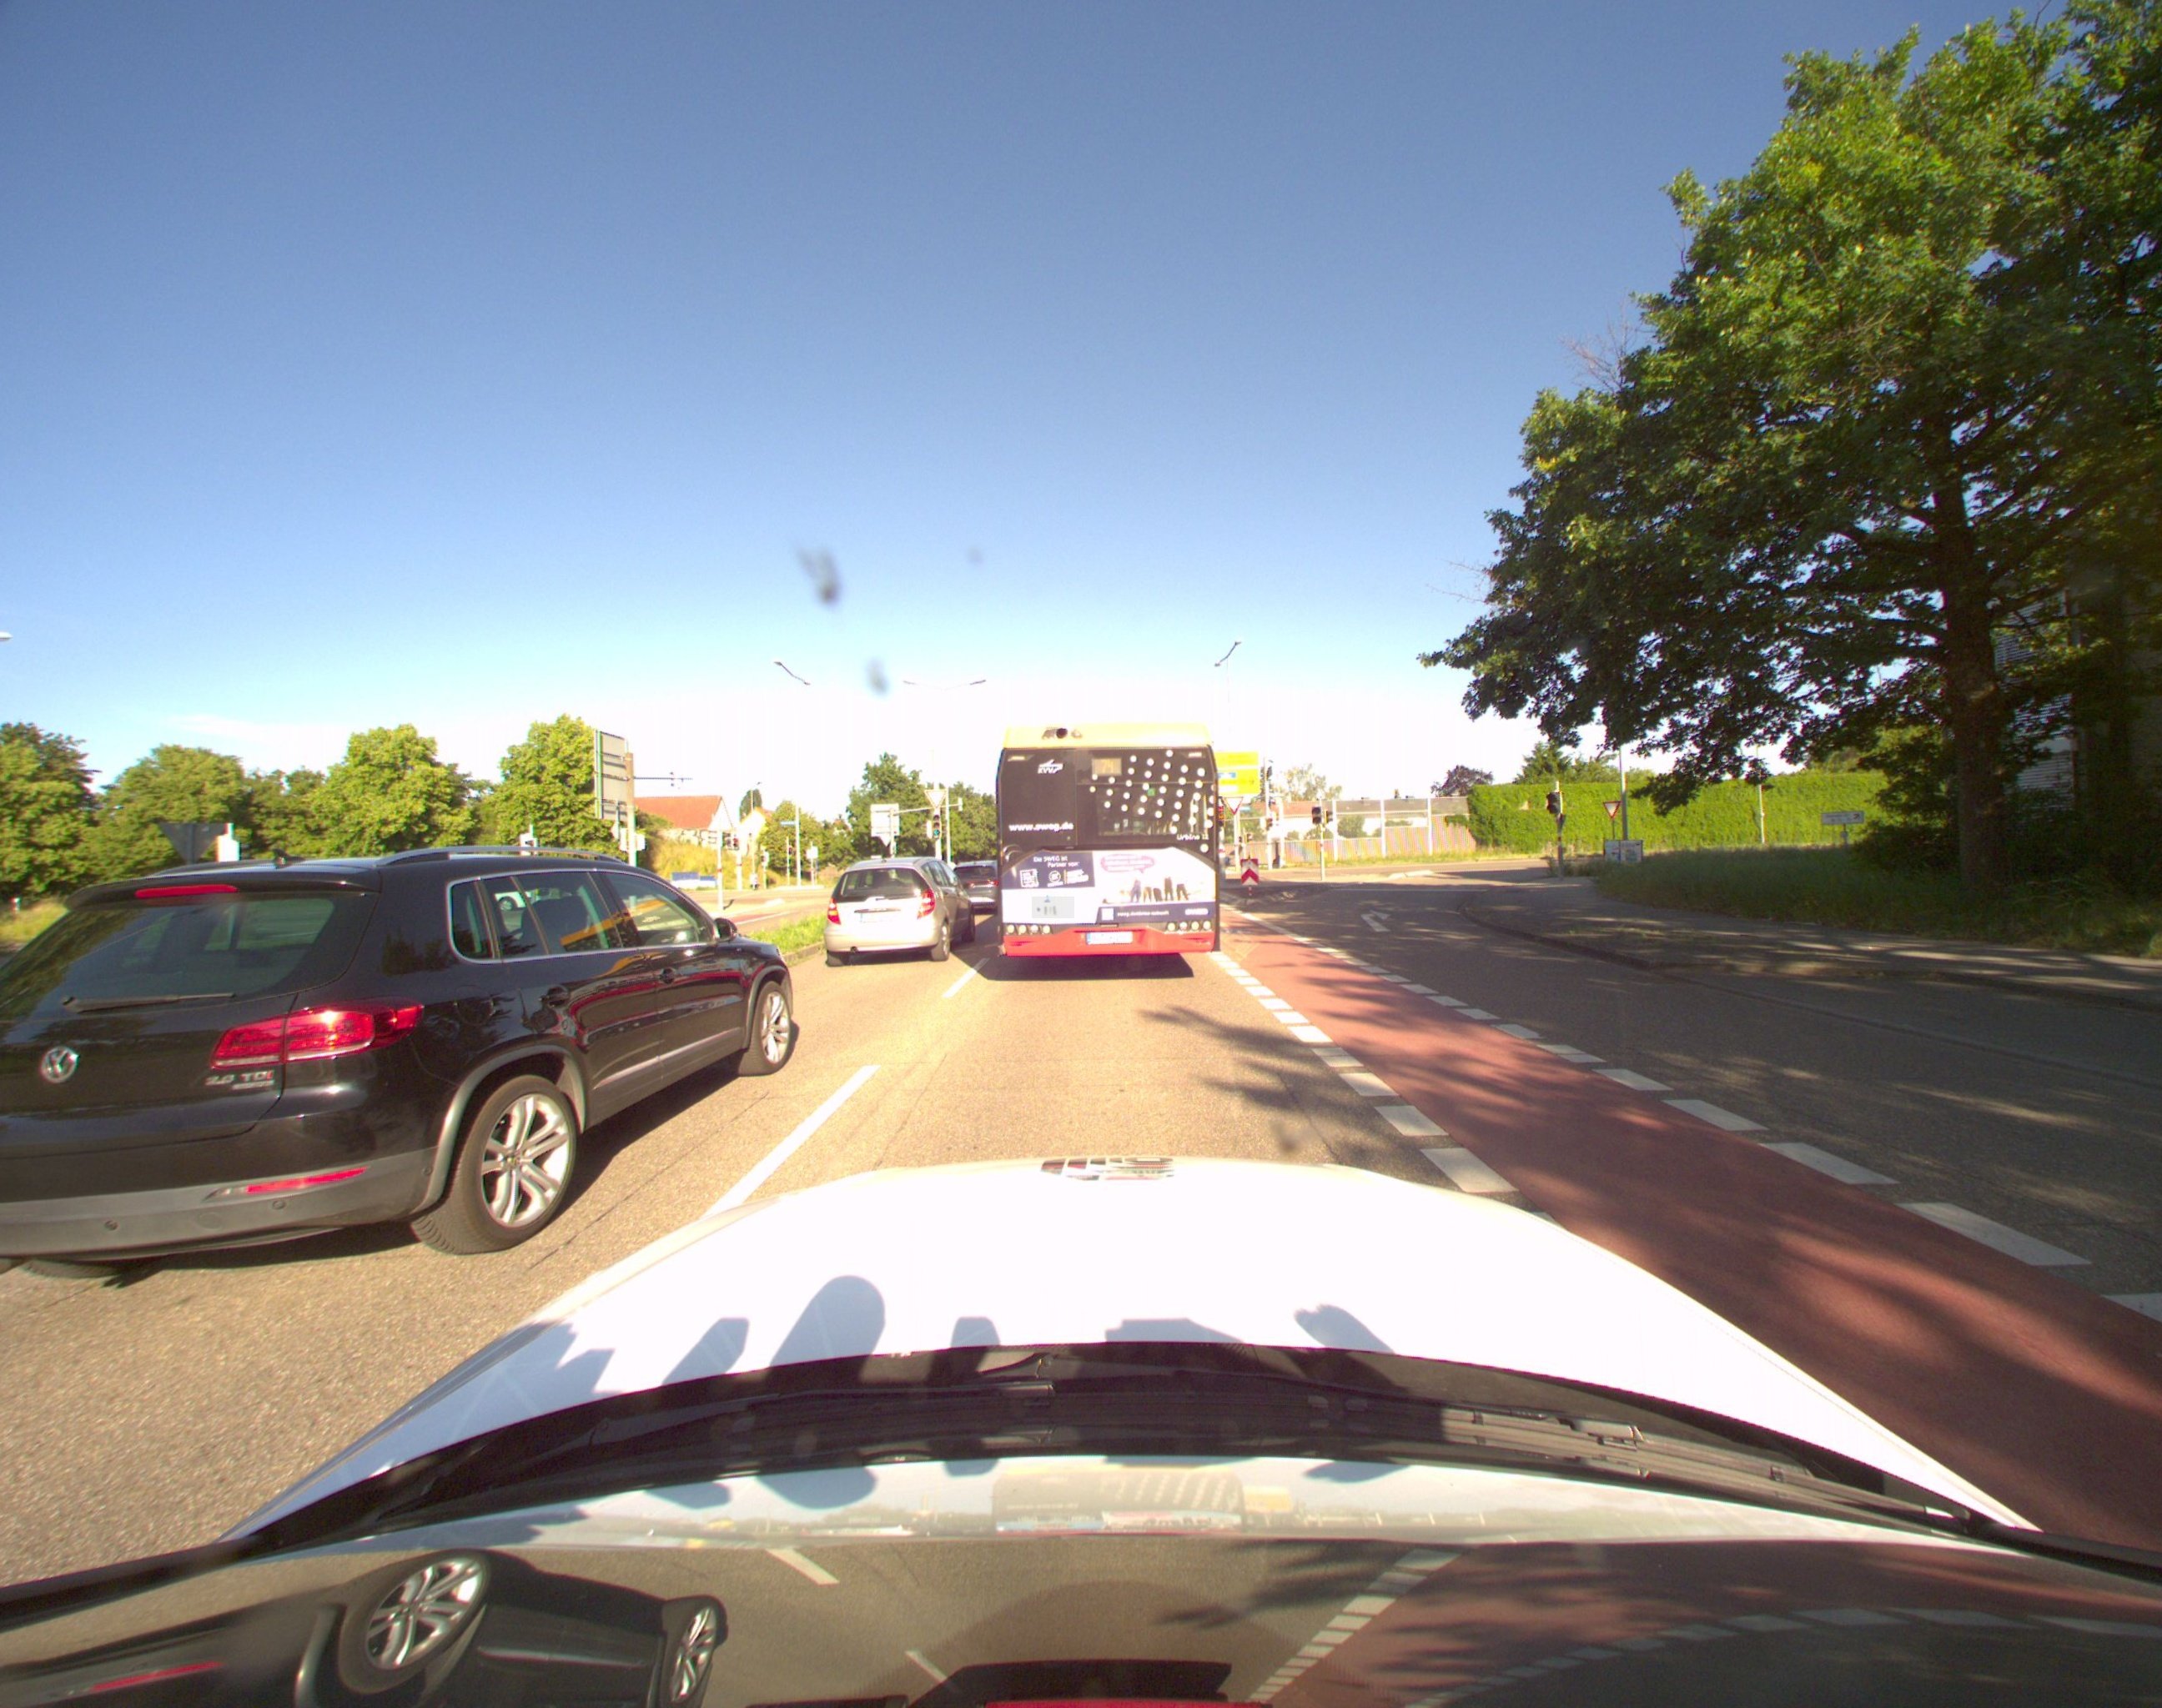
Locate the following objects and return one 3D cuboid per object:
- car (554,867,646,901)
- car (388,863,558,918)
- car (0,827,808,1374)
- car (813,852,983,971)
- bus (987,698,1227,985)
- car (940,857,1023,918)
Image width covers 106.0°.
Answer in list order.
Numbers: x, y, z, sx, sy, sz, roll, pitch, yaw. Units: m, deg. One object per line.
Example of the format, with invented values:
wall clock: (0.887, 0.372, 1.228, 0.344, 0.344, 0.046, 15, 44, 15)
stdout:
car: (-24.572, 1.530, 41.674, 3.577, 1.560, 1.747, -2, 0, -5)
car: (-25.632, 1.508, 34.502, 5.375, 2.118, 2.178, -1, -1, -4)
car: (-3.167, 0.795, 4.558, 1.766, 1.653, 4.001, -3, 0, 1)
car: (-2.842, 0.821, 13.586, 1.755, 1.589, 4.001, -3, 0, 1)
bus: (0.526, -0.168, 15.023, 2.632, 3.167, 11.867, -1, 0, 2)
car: (-2.659, 0.854, 22.510, 1.686, 1.458, 3.751, -3, 0, 1)
